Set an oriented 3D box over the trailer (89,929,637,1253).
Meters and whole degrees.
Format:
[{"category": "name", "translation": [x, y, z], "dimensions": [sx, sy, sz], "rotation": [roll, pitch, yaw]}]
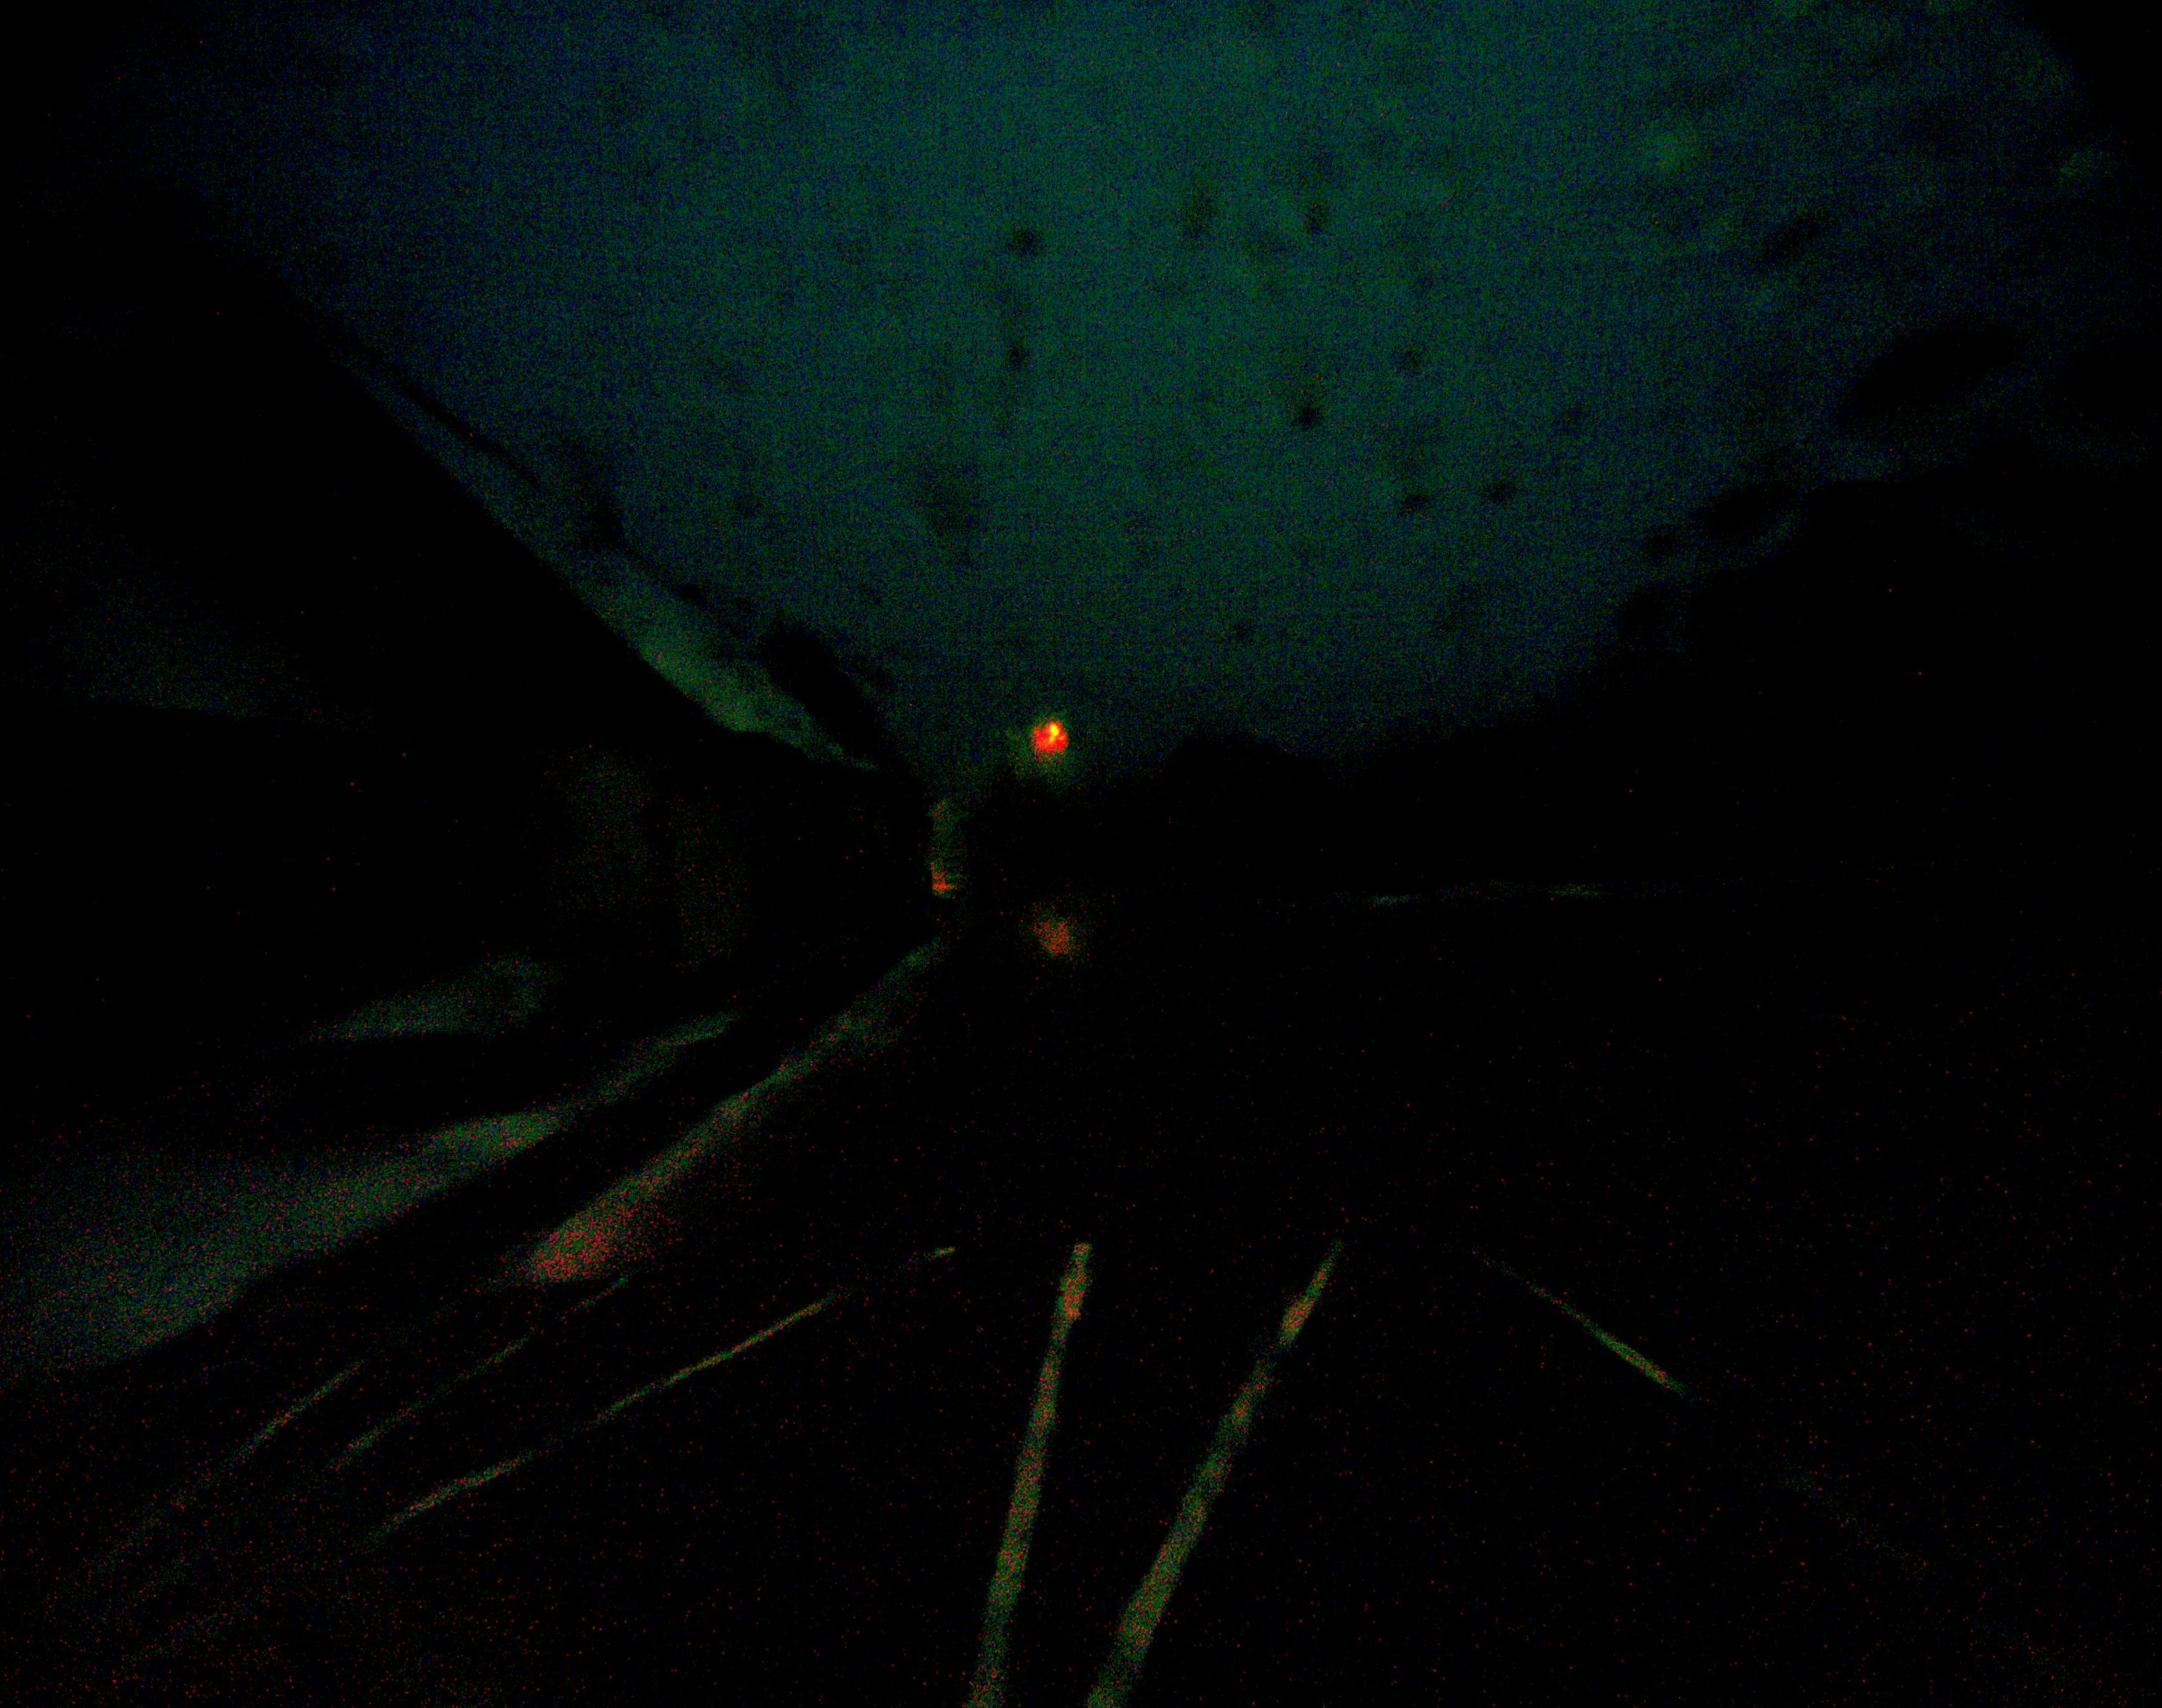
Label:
[{"category": "trailer", "translation": [-4.319, 1.229, 5.392], "dimensions": [1.551, 0.940, 3.992], "rotation": [0, 0, -24]}]
